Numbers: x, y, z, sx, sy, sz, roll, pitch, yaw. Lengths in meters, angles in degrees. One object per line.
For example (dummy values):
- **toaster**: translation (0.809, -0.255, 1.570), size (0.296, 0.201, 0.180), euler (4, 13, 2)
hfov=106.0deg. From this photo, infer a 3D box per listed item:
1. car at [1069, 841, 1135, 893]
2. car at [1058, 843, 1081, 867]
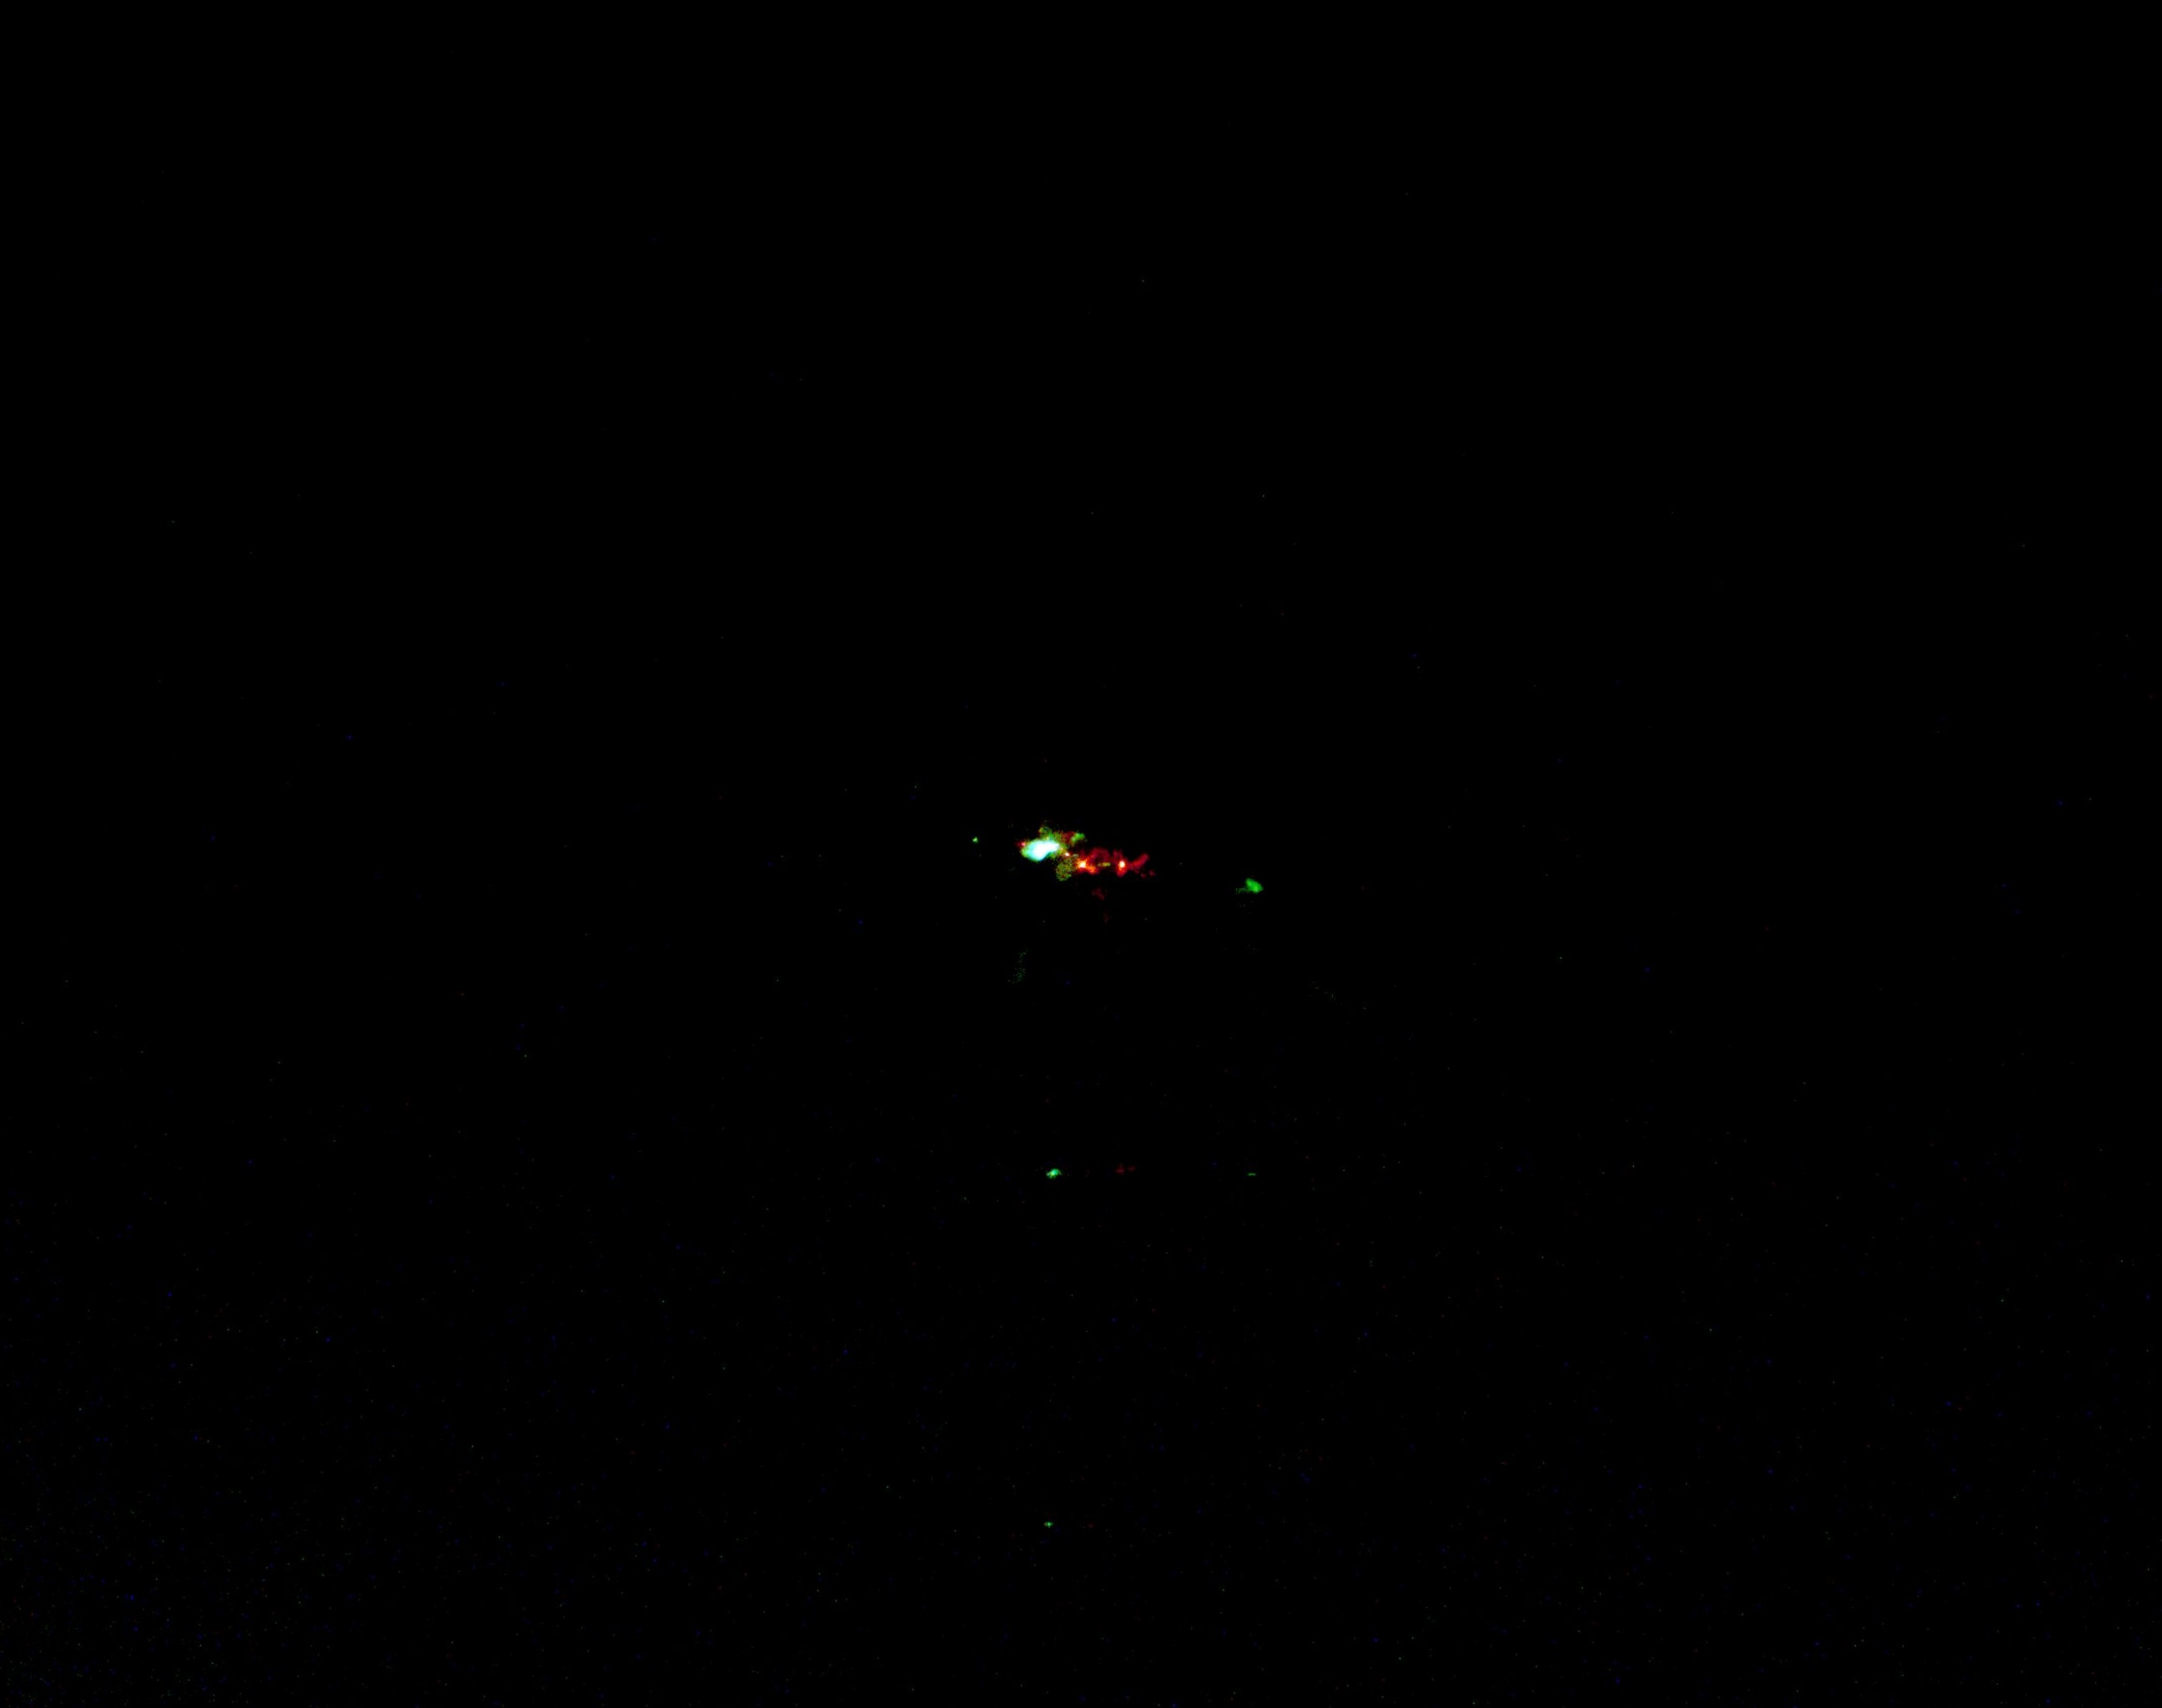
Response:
- **car**: translation (0.764, 0.494, 33.573), size (2.451, 1.958, 4.908), euler (-1, 0, -2)
- **car**: translation (-1.042, 0.086, 71.953), size (1.988, 2.013, 3.997), euler (1, 0, -2)
